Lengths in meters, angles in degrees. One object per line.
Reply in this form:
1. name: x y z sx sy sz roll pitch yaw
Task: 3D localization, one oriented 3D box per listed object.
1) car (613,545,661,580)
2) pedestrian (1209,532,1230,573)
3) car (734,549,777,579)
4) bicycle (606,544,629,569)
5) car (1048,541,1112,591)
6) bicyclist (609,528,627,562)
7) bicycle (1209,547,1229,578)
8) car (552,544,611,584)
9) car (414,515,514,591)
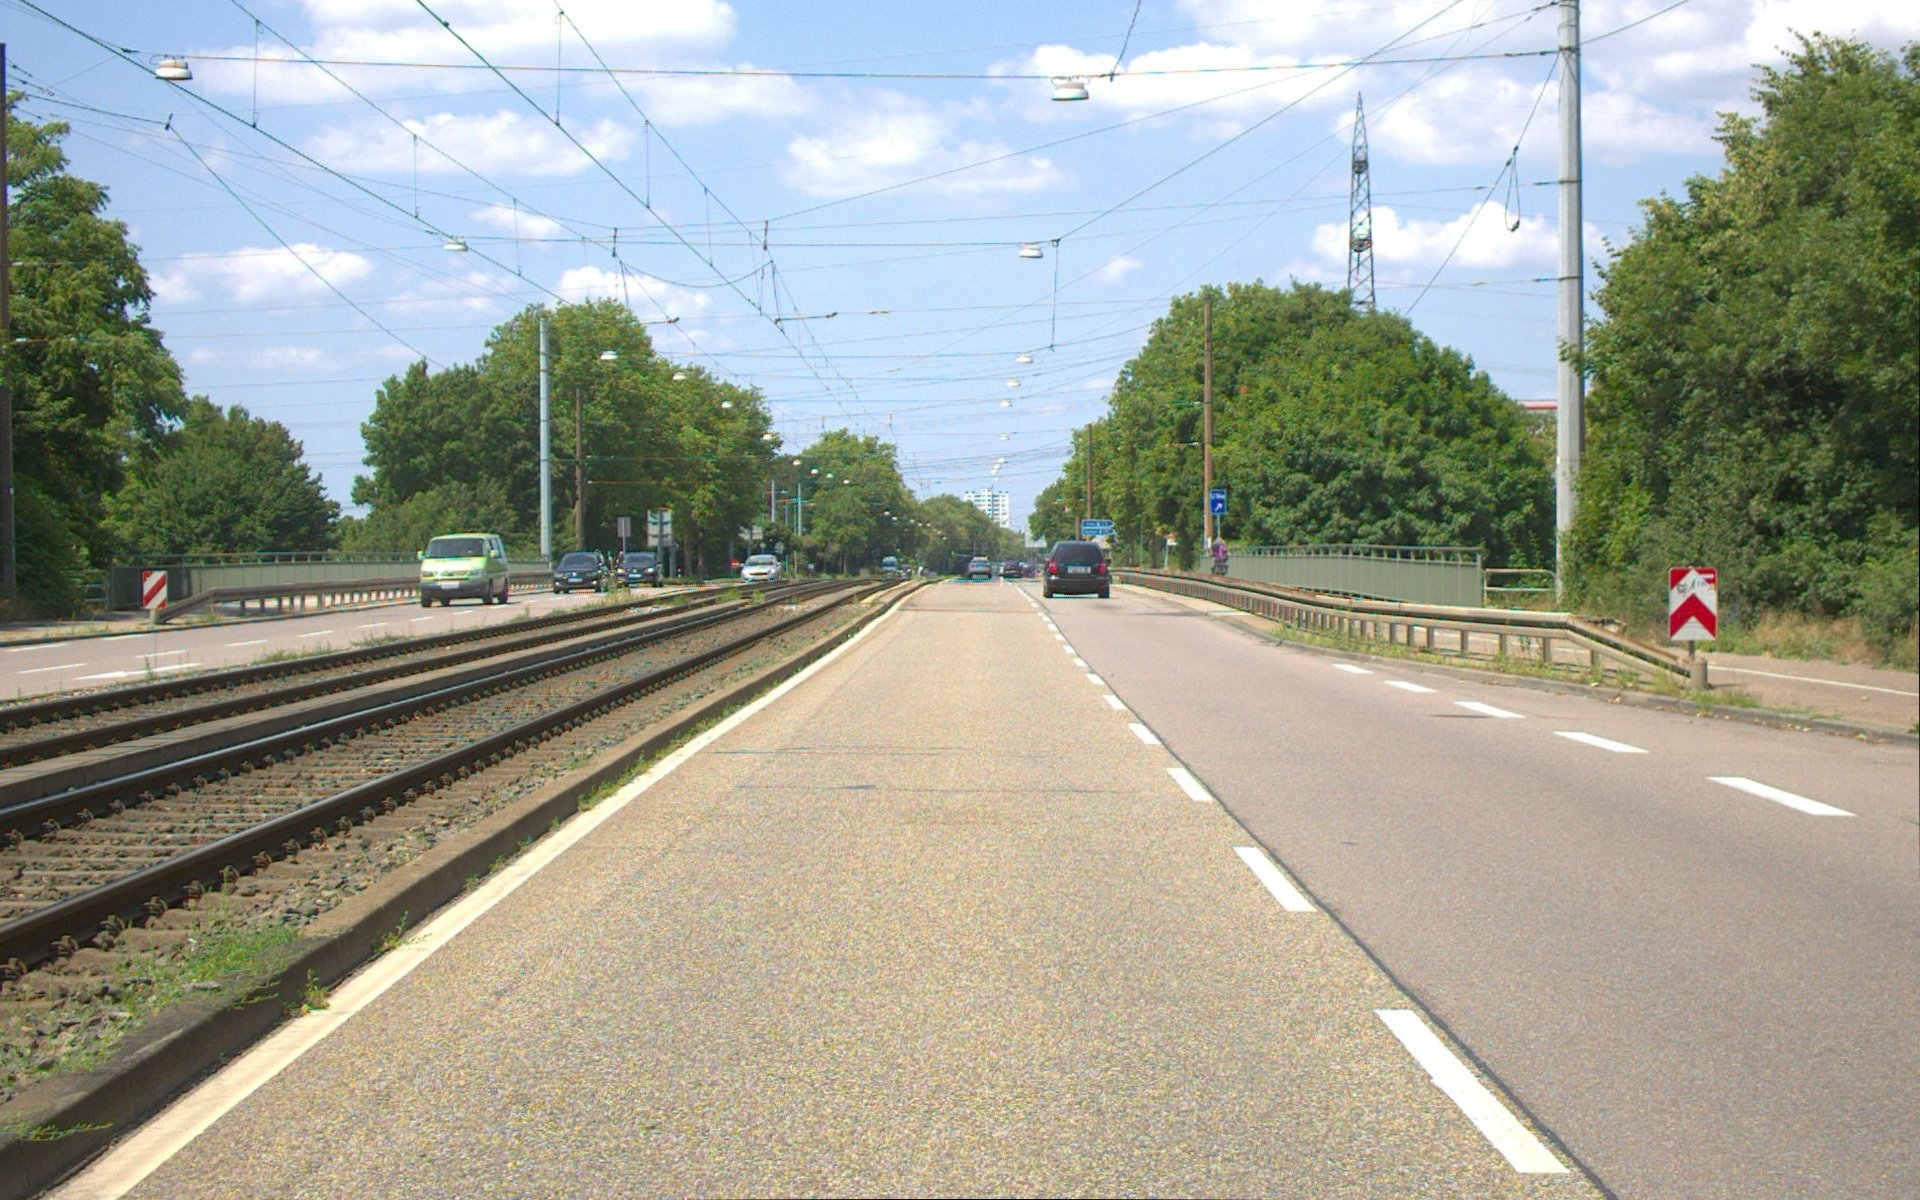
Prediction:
1. car: -13.252 -1.527 141.254 1.574 1.395 3.938 0 1 0
2. pedestrian: 8.689 -1.594 115.191 0.628 1.369 1.050 0 0 1
3. car: -9.806 -1.722 164.922 1.711 1.415 4.624 -1 1 1
4. bicycle: -16.211 -2.055 162.731 0.857 1.181 2.062 1 1 0
5. car: 3.308 -0.949 95.128 1.586 1.338 3.272 -1 1 -1
6. bicyclist: -16.191 -2.611 162.694 0.763 1.616 0.838 1 0 0
7. bicycle: 8.674 -1.248 115.129 0.559 1.021 1.848 0 0 1
8. car: -13.371 -1.267 121.532 1.563 1.343 3.929 -1 1 1
9. car: -13.165 -1.238 91.585 1.811 1.918 5.179 -1 1 1
